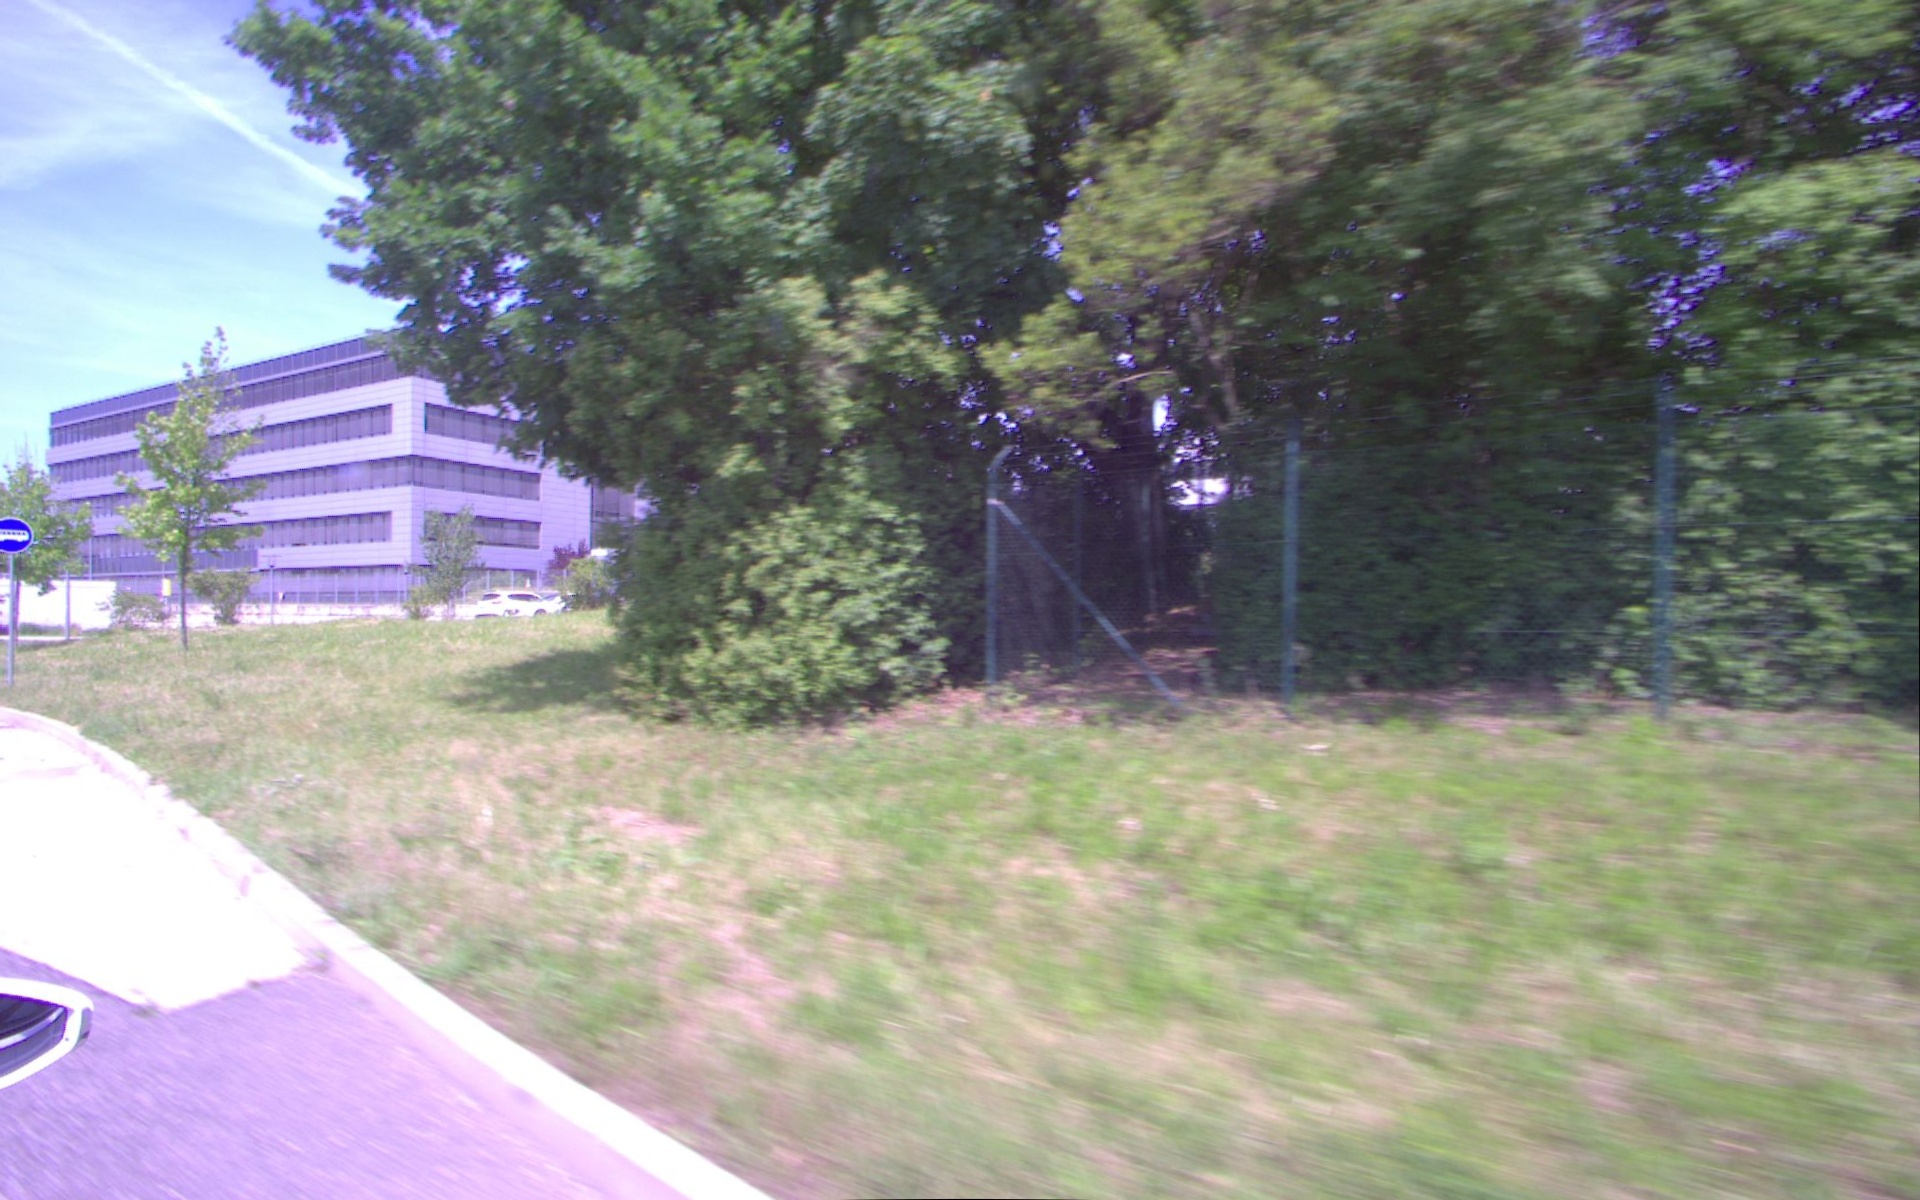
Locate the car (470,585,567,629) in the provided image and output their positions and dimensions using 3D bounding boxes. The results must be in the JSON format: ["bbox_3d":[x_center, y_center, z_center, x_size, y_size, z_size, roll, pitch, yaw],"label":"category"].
[{"bbox_3d":[-21.124,0.309,48.106,1.729,1.839,3.981,-2,2,28],"label":"car"}]

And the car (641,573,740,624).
[{"bbox_3d":[-11.341,-0.091,42.410,1.729,1.948,3.981,-2,2,28],"label":"car"}]

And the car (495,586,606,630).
[{"bbox_3d":[-18.998,0.325,46.721,1.948,1.790,4.543,-2,2,28],"label":"car"}]

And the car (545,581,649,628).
[{"bbox_3d":[-15.958,0.155,44.254,1.948,1.839,3.981,-2,2,28],"label":"car"}]

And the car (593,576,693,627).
[{"bbox_3d":[-13.576,0.040,43.079,1.729,1.948,3.981,-2,2,28],"label":"car"}]
